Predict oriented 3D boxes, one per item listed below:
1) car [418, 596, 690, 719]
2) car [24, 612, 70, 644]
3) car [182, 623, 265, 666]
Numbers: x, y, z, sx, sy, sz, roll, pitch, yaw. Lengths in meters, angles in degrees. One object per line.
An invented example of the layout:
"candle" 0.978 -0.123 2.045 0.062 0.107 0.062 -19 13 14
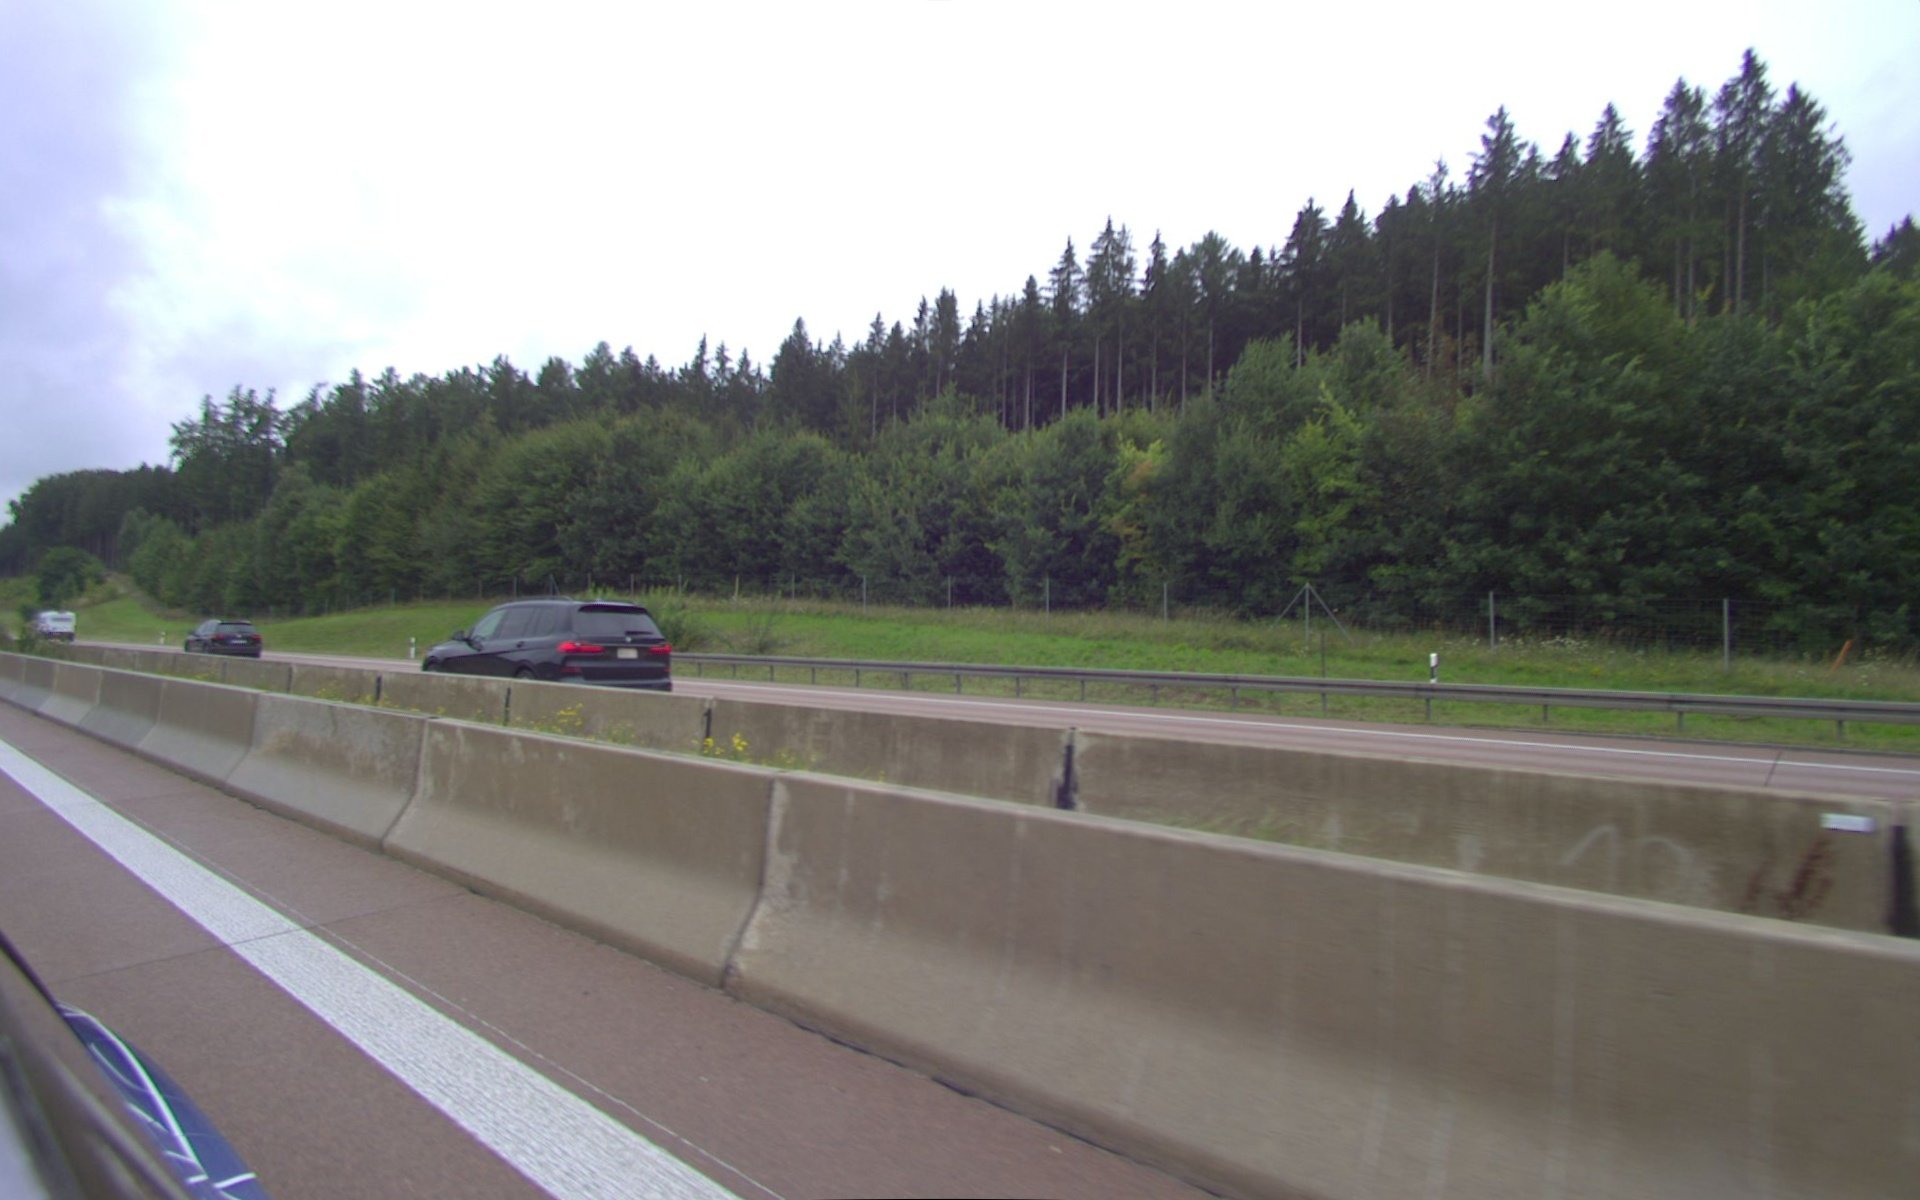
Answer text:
"car" -6.266 0.787 15.325 4.805 1.563 1.845 -2 -1 41
"car" -79.214 2.362 87.772 6.252 2.604 2.201 0 1 41
"car" -29.729 1.760 40.810 4.313 1.594 1.698 0 -1 41
